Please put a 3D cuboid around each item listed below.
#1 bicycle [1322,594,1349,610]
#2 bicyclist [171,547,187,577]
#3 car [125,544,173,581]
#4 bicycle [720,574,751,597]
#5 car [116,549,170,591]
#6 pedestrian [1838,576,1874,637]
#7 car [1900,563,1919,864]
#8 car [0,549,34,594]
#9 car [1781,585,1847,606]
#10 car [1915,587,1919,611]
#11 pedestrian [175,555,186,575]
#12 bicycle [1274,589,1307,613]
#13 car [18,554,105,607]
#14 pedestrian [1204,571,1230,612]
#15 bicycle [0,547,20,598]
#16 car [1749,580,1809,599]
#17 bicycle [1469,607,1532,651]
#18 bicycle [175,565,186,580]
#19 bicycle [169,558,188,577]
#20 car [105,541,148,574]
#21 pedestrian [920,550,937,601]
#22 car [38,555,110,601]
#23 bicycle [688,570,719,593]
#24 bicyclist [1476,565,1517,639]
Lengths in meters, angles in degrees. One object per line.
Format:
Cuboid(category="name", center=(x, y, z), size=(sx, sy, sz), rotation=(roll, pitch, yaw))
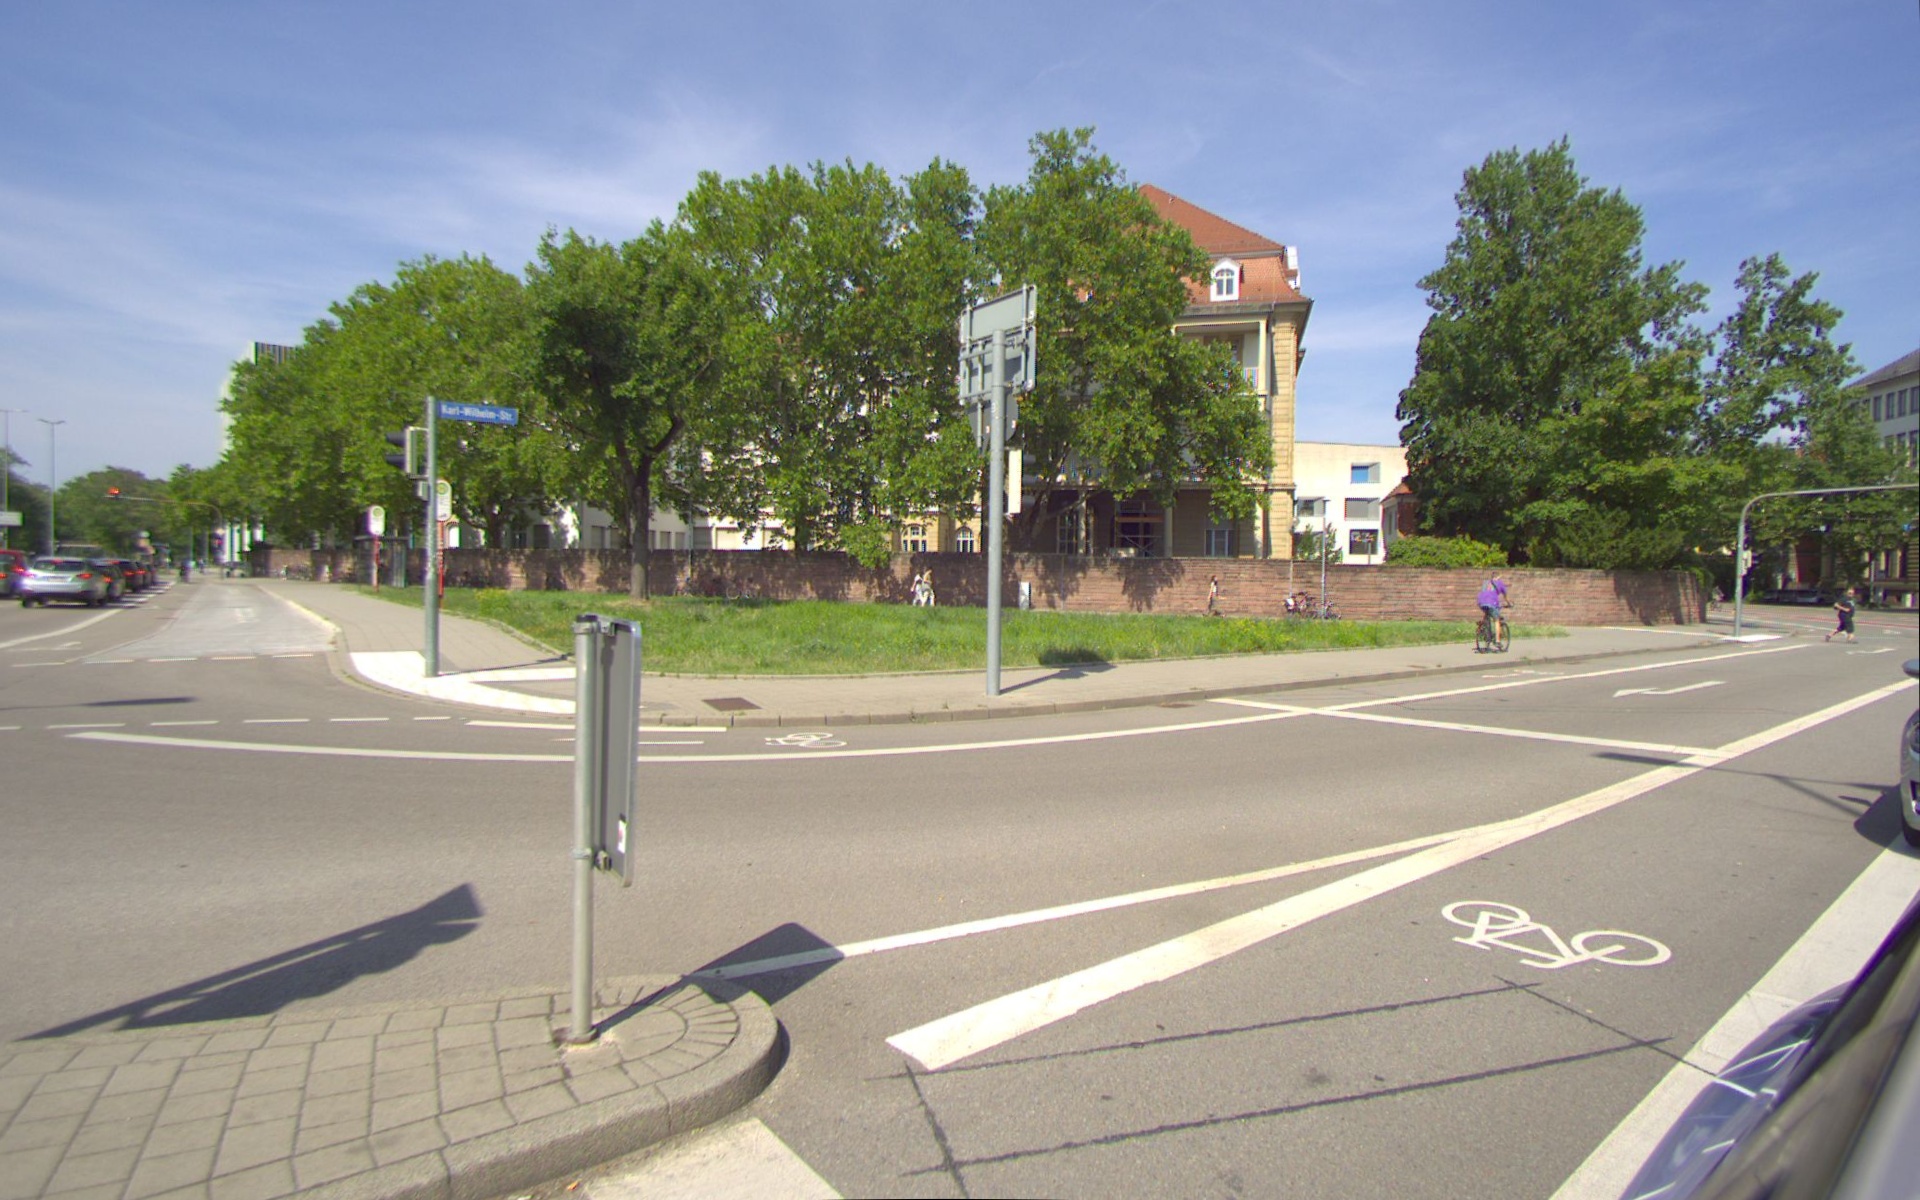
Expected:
Cuboid(category="bicycle", center=(14.561, 0.075, 39.206), size=(0.929, 0.609, 0.275), rotation=(1, 1, -2))
Cuboid(category="bicyclist", center=(-54.370, -2.632, 70.460), size=(0.763, 2.039, 1.274), rotation=(-1, 0, -34))
Cuboid(category="car", center=(-46.602, -2.170, 58.138), size=(1.966, 2.038, 3.994), rotation=(0, 2, -41))
Cuboid(category="bicycle", center=(-10.459, -0.694, 47.149), size=(1.432, 1.046, 0.444), rotation=(2, 2, 24))
Cuboid(category="car", center=(-41.245, -1.538, 51.068), size=(1.966, 2.038, 3.994), rotation=(0, 2, -41))
Cuboid(category="pedestrian", center=(30.499, 0.205, 34.457), size=(0.790, 2.039, 0.608), rotation=(2, 1, 35))
Cuboid(category="car", center=(7.203, 0.626, 6.052), size=(4.076, 1.605, 1.688), rotation=(0, 2, -38))
Cuboid(category="car", center=(-40.750, -1.257, 42.972), size=(1.945, 1.819, 4.605), rotation=(0, 2, -41))
Cuboid(category="car", center=(75.487, -0.431, 89.551), size=(3.941, 1.682, 1.992), rotation=(-1, 3, 14))
Cuboid(category="car", center=(70.155, -0.034, 71.076), size=(3.942, 1.682, 1.992), rotation=(-1, 3, 15))
Cuboid(category="pedestrian", center=(-56.565, -2.558, 73.416), size=(0.550, 1.457, 0.731), rotation=(0, 2, -42))
Cuboid(category="bicycle", center=(12.692, 0.035, 38.920), size=(1.202, 0.894, 0.395), rotation=(0, 2, -21))
Cuboid(category="car", center=(-29.875, -0.677, 33.749), size=(1.679, 1.638, 4.219), rotation=(0, 2, -35))
Cuboid(category="pedestrian", center=(9.925, -0.333, 39.109), size=(0.900, 1.567, 0.501), rotation=(1, 2, 14))
Cuboid(category="bicycle", center=(-36.934, -1.062, 38.038), size=(1.964, 1.837, 3.998), rotation=(-1, 3, -38))
Cuboid(category="car", center=(77.647, -0.975, 96.022), size=(3.943, 1.682, 1.991), rotation=(-1, 3, 16))
Cuboid(category="bicycle", center=(12.512, 0.655, 23.420), size=(1.900, 0.898, 0.684), rotation=(-1, 2, -43))
Cuboid(category="bicycle", center=(-56.608, -2.030, 73.471), size=(0.550, 1.064, 1.322), rotation=(0, 2, -42))
Cuboid(category="bicycle", center=(-54.420, -2.237, 70.518), size=(0.832, 1.233, 3.485), rotation=(-1, 0, -34))
Cuboid(category="car", center=(-52.672, -2.691, 63.951), size=(1.966, 2.038, 3.994), rotation=(0, 2, -41))
Cuboid(category="pedestrian", center=(-1.260, -1.000, 40.975), size=(0.586, 2.038, 0.522), rotation=(1, 2, 9))
Cuboid(category="car", center=(-33.743, -0.873, 38.522), size=(3.984, 1.610, 1.561), rotation=(3, 2, 41))
Cuboid(category="bicycle", center=(-12.156, -0.864, 47.949), size=(1.432, 1.046, 0.444), rotation=(2, 2, 24))
Cuboid(category="bicyclist", center=(12.352, 0.032, 23.289), size=(1.066, 1.657, 0.487), rotation=(-1, 2, -44))
